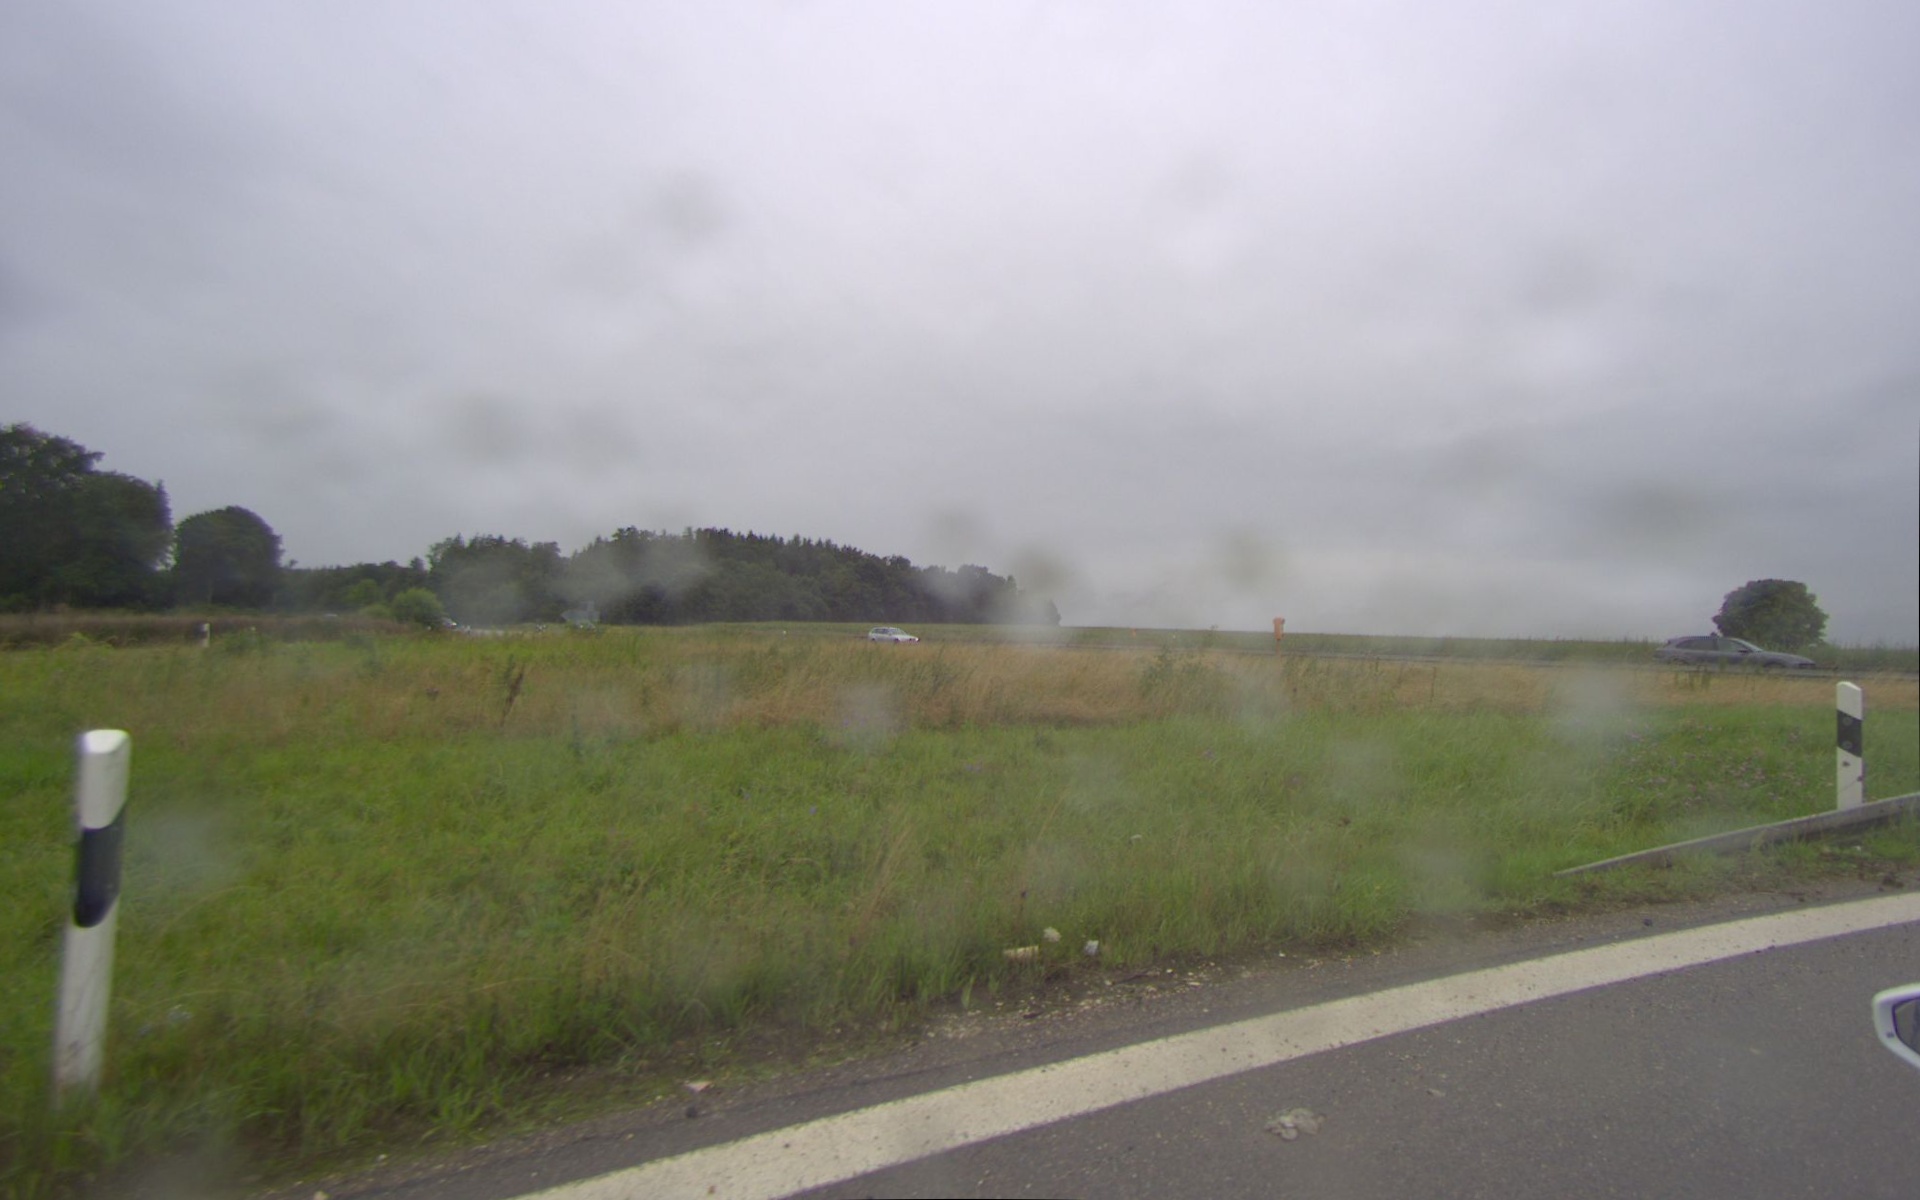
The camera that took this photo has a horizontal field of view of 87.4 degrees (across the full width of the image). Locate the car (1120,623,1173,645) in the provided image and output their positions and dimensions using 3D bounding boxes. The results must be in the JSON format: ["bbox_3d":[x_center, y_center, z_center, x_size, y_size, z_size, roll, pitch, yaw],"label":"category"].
[{"bbox_3d":[15.015,2.740,80.917,1.724,1.759,3.948,2,-2,-44],"label":"car"}]

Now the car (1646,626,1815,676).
[{"bbox_3d":[28.751,1.865,37.612,2.043,1.658,4.742,3,-2,-40],"label":"car"}]

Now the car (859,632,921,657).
[{"bbox_3d":[-4.933,3.105,70.465,1.866,1.507,4.738,4,-3,-41],"label":"car"}]
